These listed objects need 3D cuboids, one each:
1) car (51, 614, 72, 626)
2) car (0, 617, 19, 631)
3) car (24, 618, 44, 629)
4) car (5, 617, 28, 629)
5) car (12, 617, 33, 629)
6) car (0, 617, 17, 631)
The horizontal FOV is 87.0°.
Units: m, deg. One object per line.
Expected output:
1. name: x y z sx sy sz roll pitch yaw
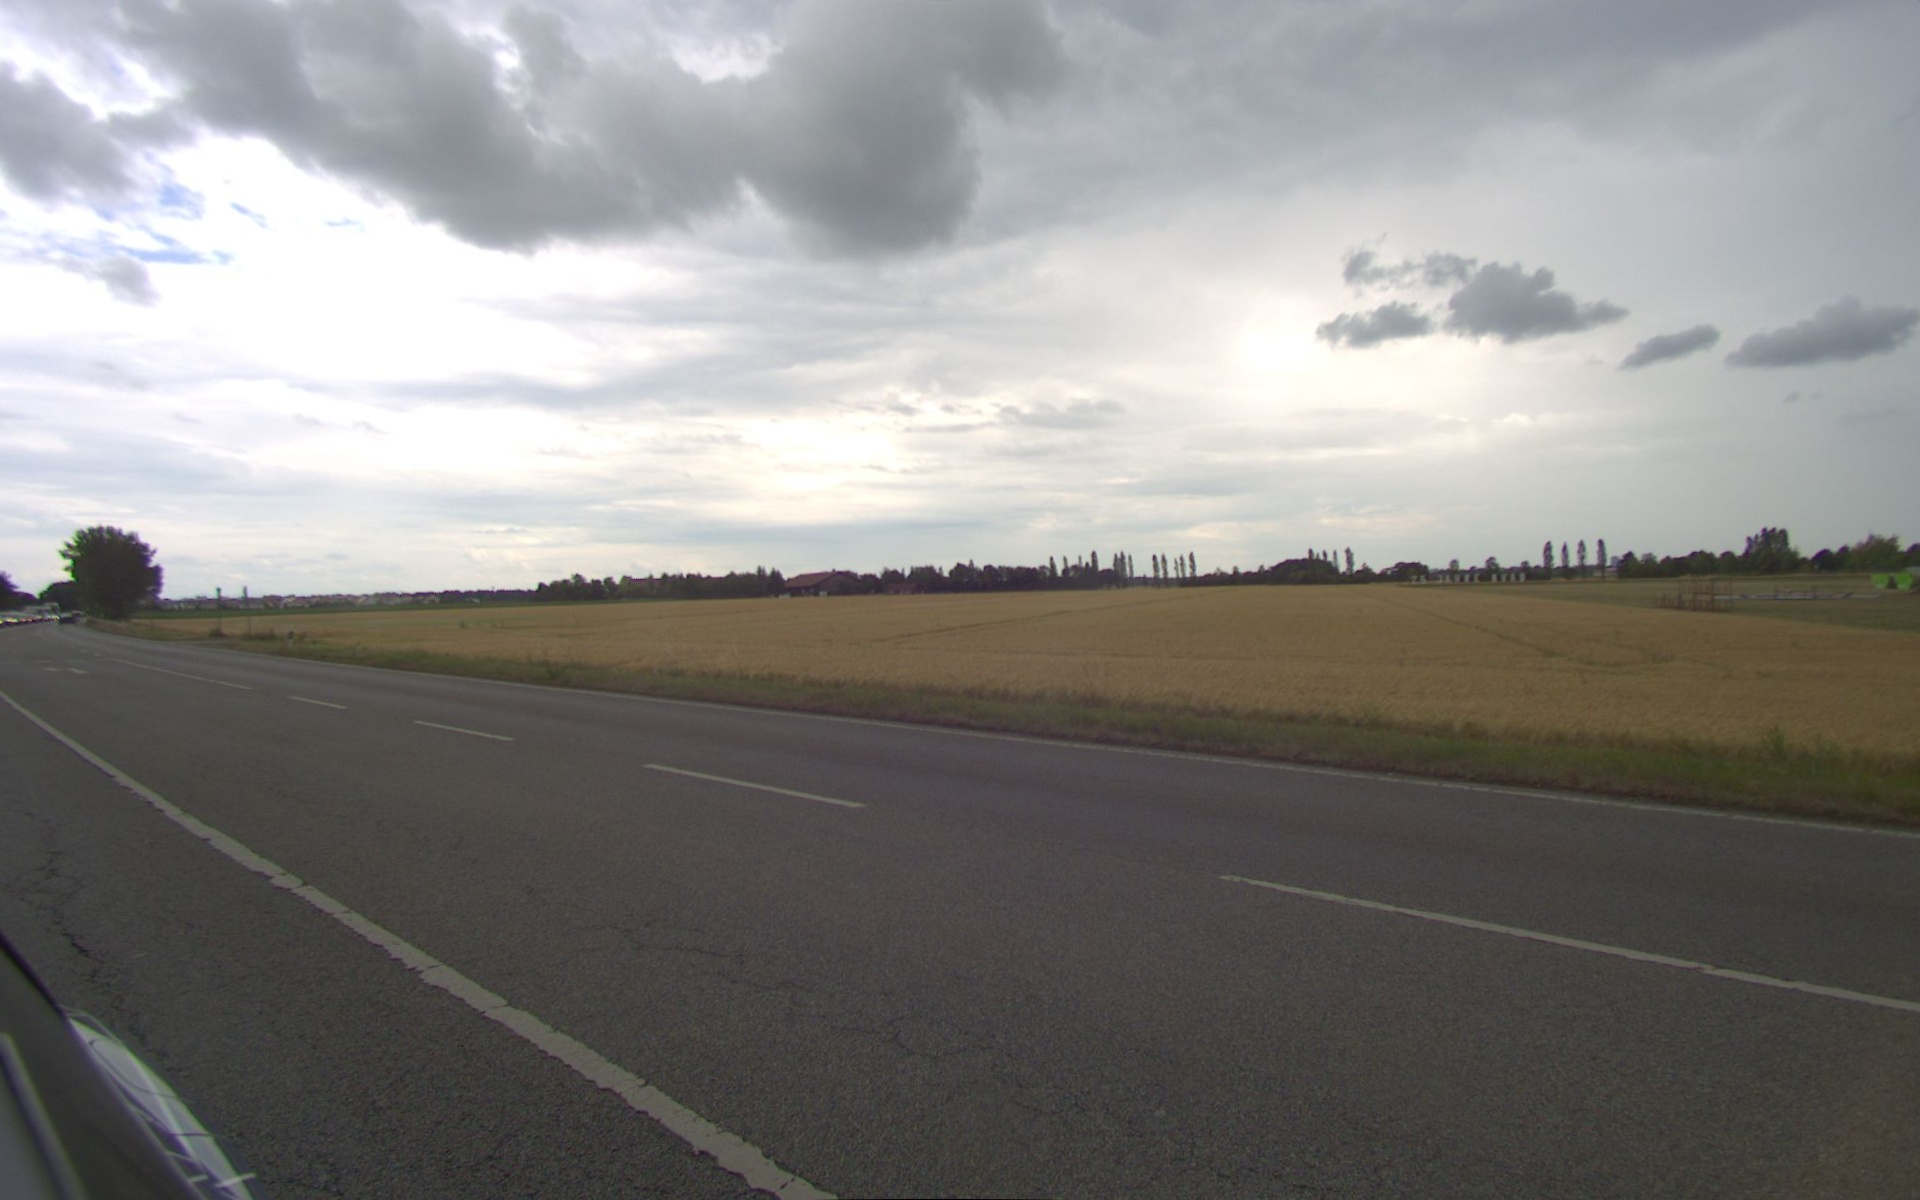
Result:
1. car: -118.760 2.644 133.788 1.803 1.421 4.432 -2 0 -38
2. car: -118.032 2.954 125.181 1.924 1.595 4.146 -1 0 -36
3. car: -138.929 3.482 151.886 1.766 1.551 4.146 -1 0 -36
4. car: -124.131 3.003 133.104 1.766 1.595 4.146 -1 0 -37
5. car: -130.468 3.140 140.885 1.766 1.595 4.145 -1 0 -38
6. car: -112.521 2.833 119.179 1.766 1.595 4.145 -1 0 -38
